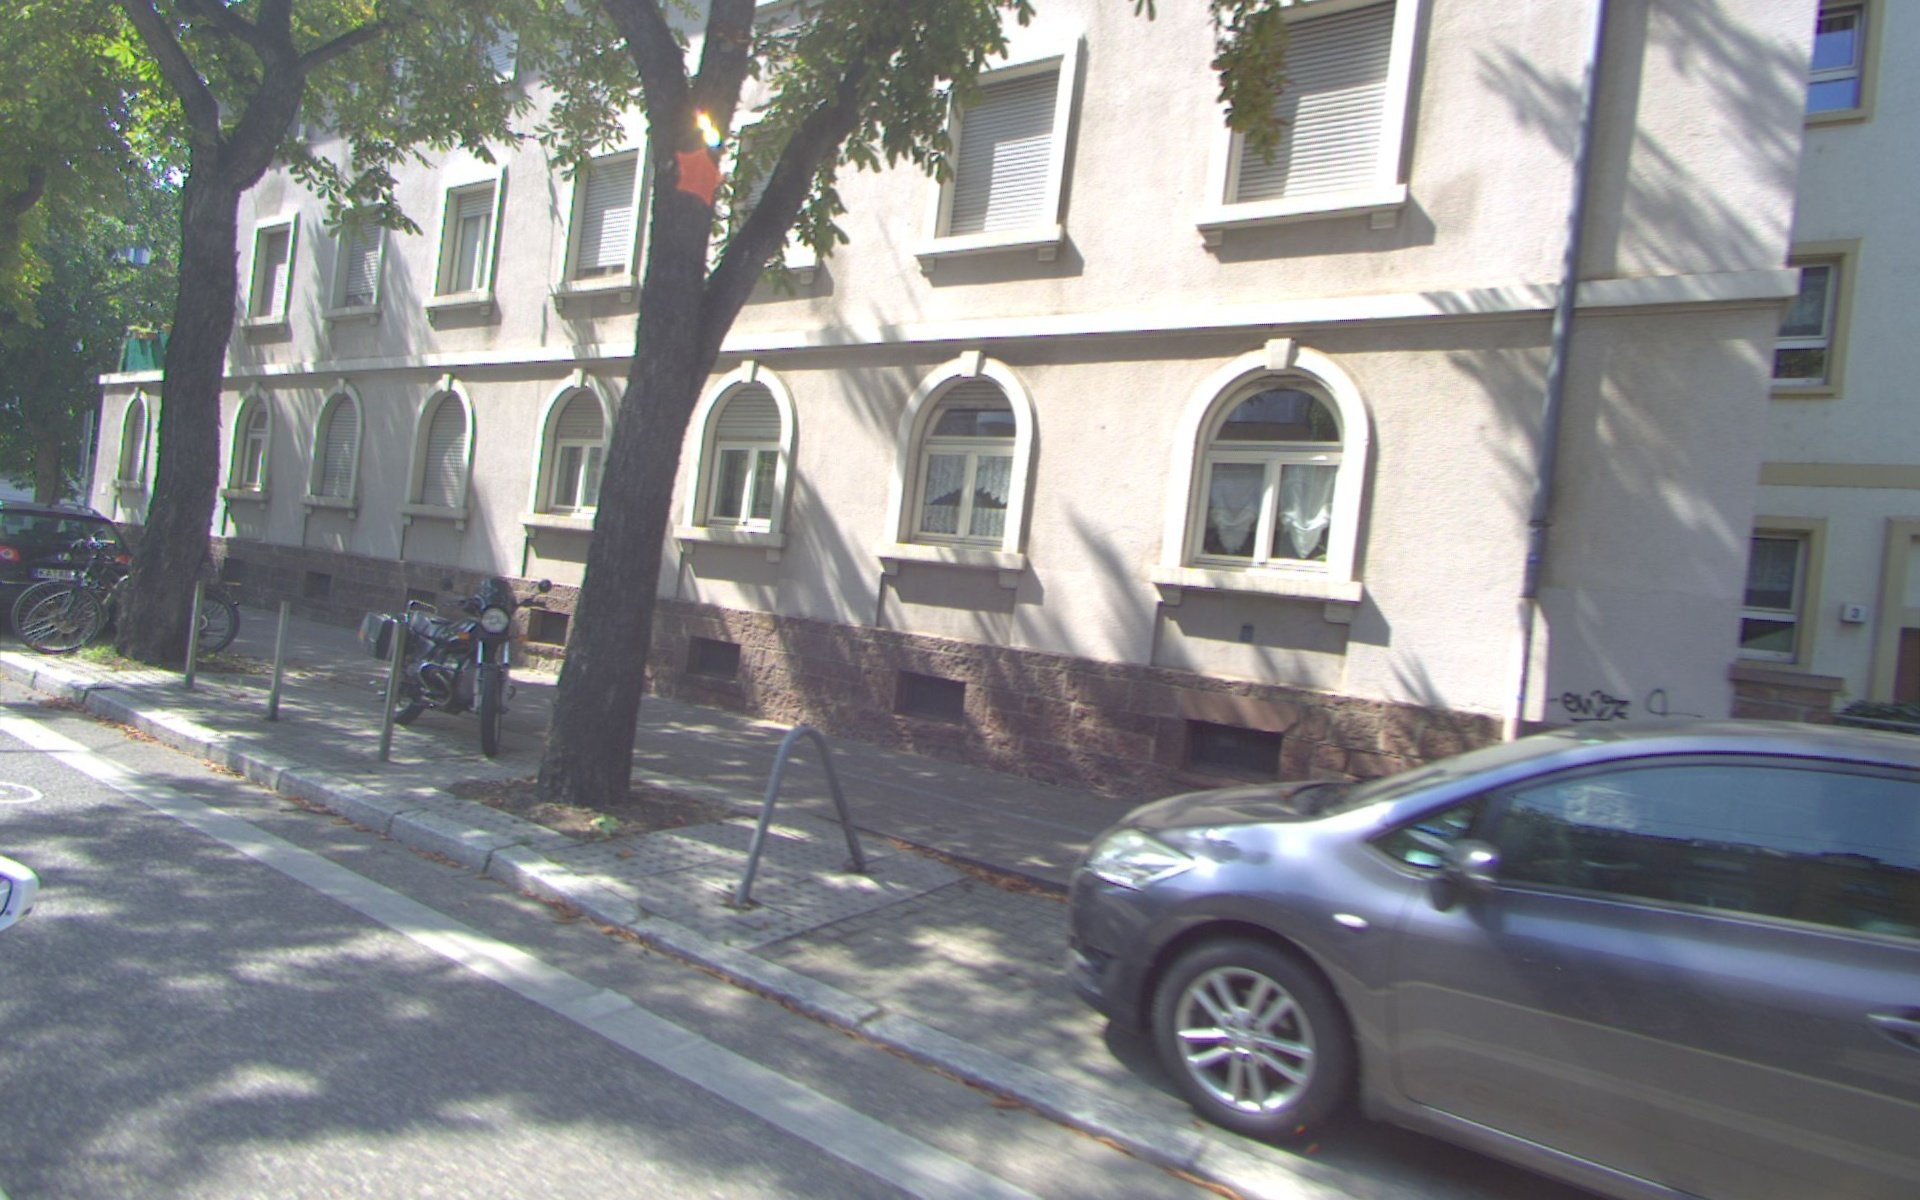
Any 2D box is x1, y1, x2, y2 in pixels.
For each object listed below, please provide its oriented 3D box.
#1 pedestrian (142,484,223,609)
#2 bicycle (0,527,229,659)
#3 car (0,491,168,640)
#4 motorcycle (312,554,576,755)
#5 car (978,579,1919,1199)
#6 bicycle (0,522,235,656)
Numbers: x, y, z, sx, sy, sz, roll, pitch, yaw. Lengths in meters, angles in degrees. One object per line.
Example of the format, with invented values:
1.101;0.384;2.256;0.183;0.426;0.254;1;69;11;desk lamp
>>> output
-12.640;-0.869;16.358;0.702;1.915;0.707;6;0;34;pedestrian
-8.281;-0.036;9.917;0.392;1.117;1.605;6;-1;38;bicycle
-11.946;-0.559;12.431;4.701;1.551;1.842;6;0;32;car
-4.097;0.388;7.929;2.140;1.270;0.711;6;-1;31;motorcycle
2.338;0.998;3.378;4.046;1.551;1.843;8;1;32;car
-8.520;-0.072;10.239;0.371;1.163;1.722;6;-1;38;bicycle
